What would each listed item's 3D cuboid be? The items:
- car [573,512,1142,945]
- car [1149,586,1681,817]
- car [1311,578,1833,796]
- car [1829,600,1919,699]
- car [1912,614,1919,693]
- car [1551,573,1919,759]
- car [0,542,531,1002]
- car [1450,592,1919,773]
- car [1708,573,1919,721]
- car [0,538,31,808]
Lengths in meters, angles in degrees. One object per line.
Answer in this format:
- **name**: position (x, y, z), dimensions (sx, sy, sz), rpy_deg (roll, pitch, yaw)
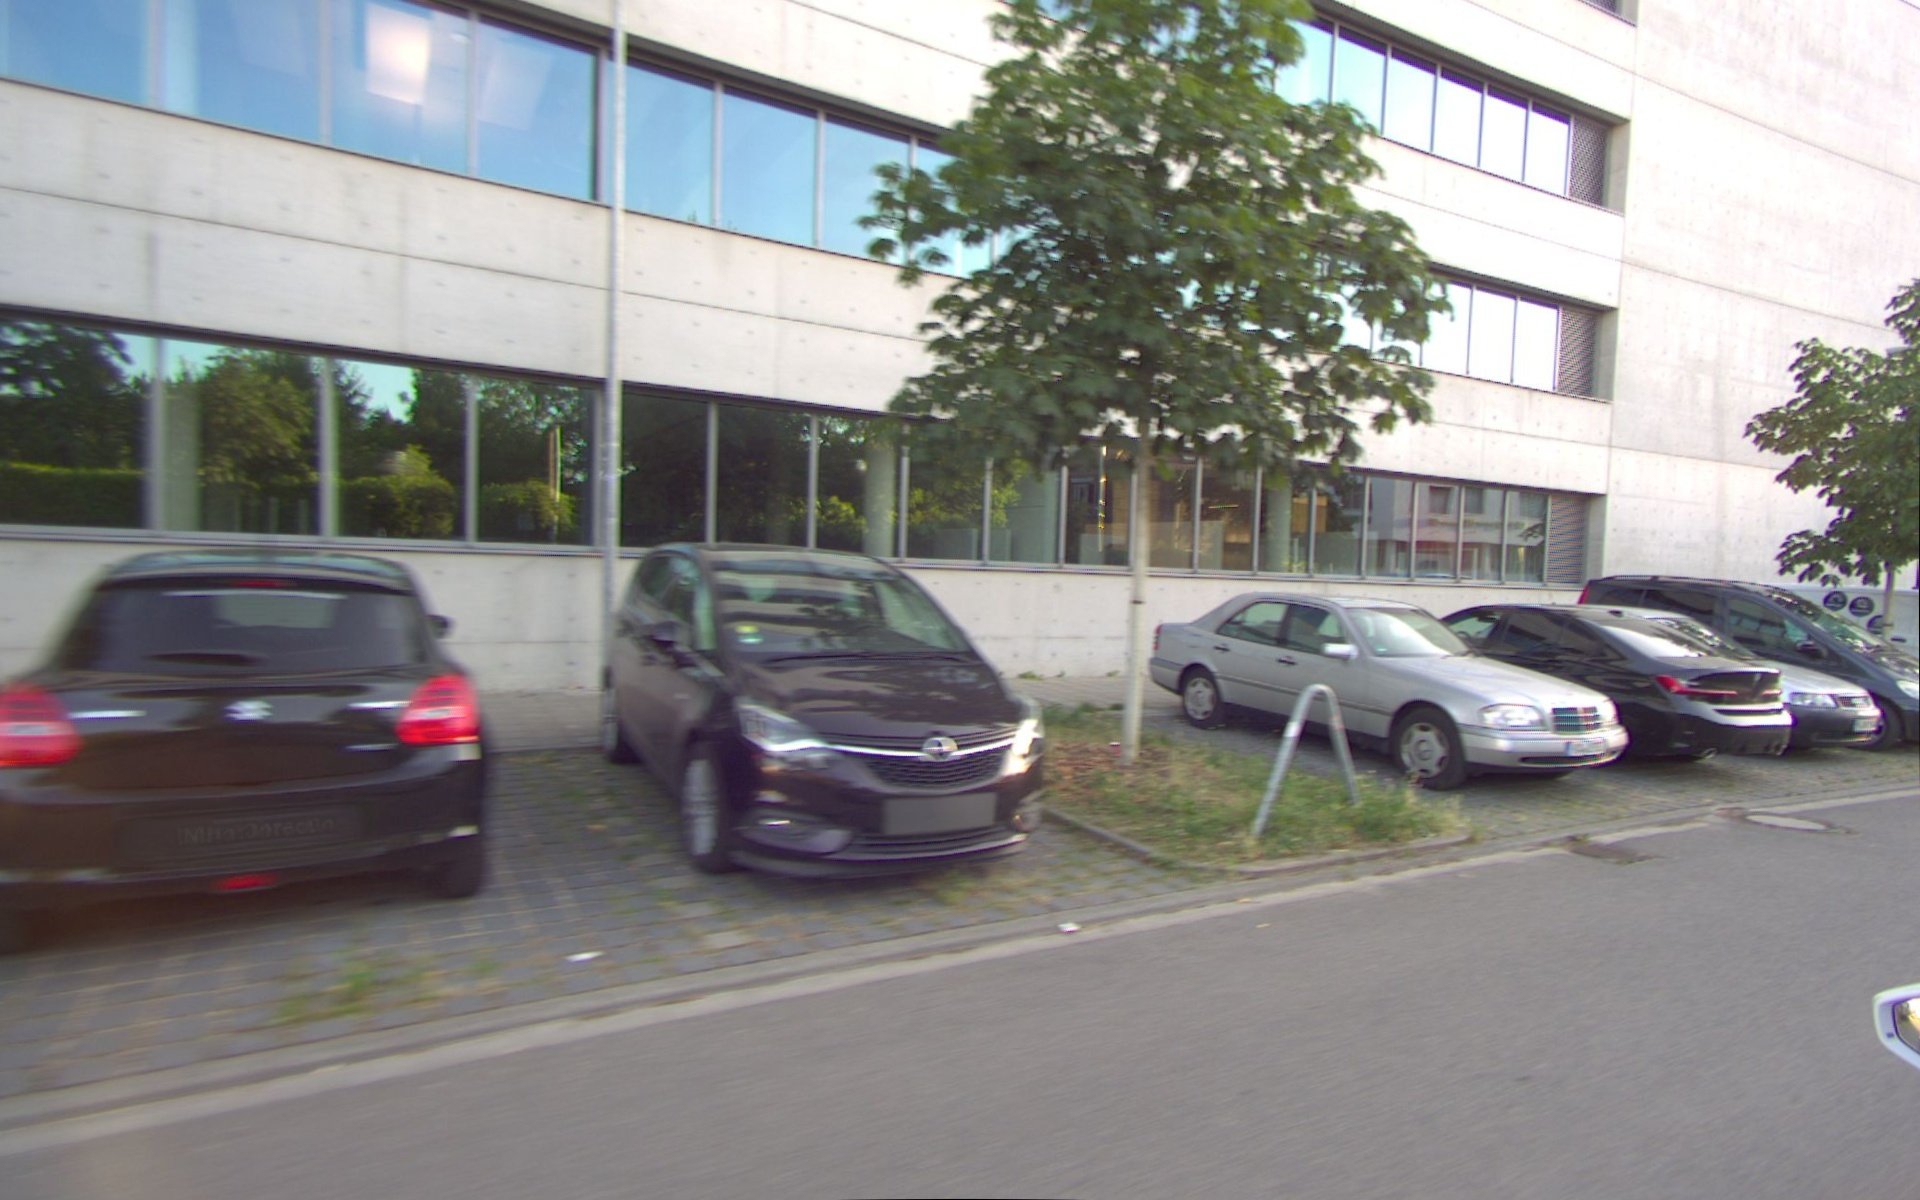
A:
- **car**: position (-1.032, 0.412, 6.302), dimensions (1.875, 1.719, 4.286), rpy_deg (1, 3, -31)
- **car**: position (3.876, 0.695, 9.473), dimensions (1.741, 1.484, 4.415), rpy_deg (0, 3, -28)
- **car**: position (5.959, 0.695, 10.508), dimensions (1.739, 1.519, 4.385), rpy_deg (2, 4, -24)
- **car**: position (16.943, 0.950, 16.249), dimensions (1.585, 1.543, 3.971), rpy_deg (1, 4, -27)
- **car**: position (19.199, 1.107, 17.155), dimensions (1.629, 1.509, 3.873), rpy_deg (1, 4, -25)
- **car**: position (10.239, 0.691, 12.894), dimensions (1.703, 1.766, 4.229), rpy_deg (1, 4, -27)
- **car**: position (-3.406, 0.484, 5.224), dimensions (1.660, 1.477, 3.682), rpy_deg (1, 3, -31)
- **car**: position (8.197, 0.798, 11.805), dimensions (1.703, 1.423, 4.127), rpy_deg (2, 4, -27)
- **car**: position (14.584, 0.756, 15.021), dimensions (1.864, 1.973, 5.057), rpy_deg (2, 4, -26)
- **car**: position (-5.348, 0.463, 4.058), dimensions (1.693, 1.477, 3.680), rpy_deg (1, 3, -33)
